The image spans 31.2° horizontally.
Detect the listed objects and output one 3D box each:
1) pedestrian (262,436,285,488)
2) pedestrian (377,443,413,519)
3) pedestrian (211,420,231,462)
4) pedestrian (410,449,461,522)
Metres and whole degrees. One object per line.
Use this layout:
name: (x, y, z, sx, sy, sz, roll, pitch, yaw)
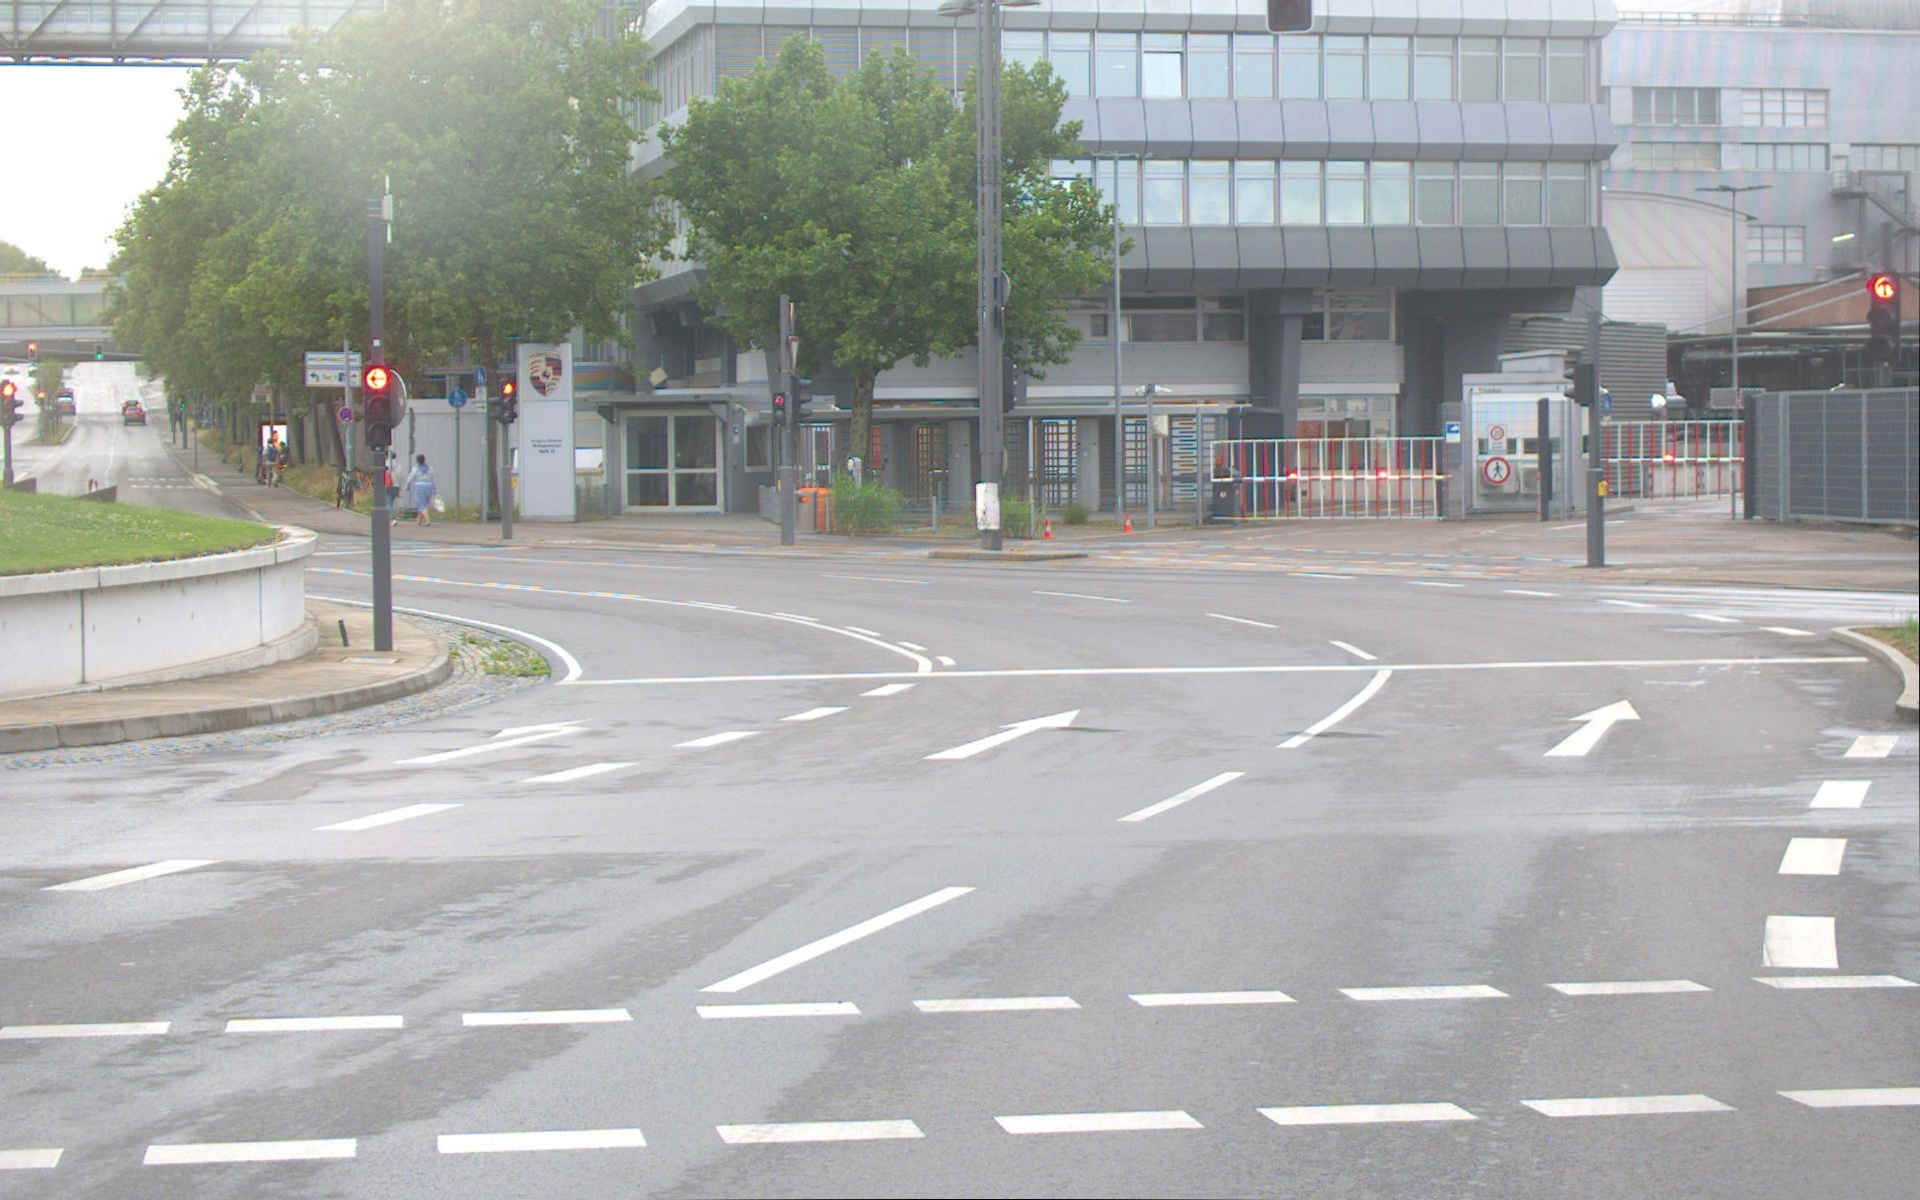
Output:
pedestrian: (-23.418, -4.698, 117.225, 0.711, 1.734, 0.760, 1, 0, -14)
pedestrian: (-12.022, -2.541, 73.155, 0.709, 1.586, 0.841, -1, 3, -9)
pedestrian: (-35.665, -7.690, 165.980, 0.765, 2.006, 0.692, 0, 2, 3)
pedestrian: (-11.029, -2.410, 72.309, 0.831, 1.515, 0.842, -2, 3, -25)
